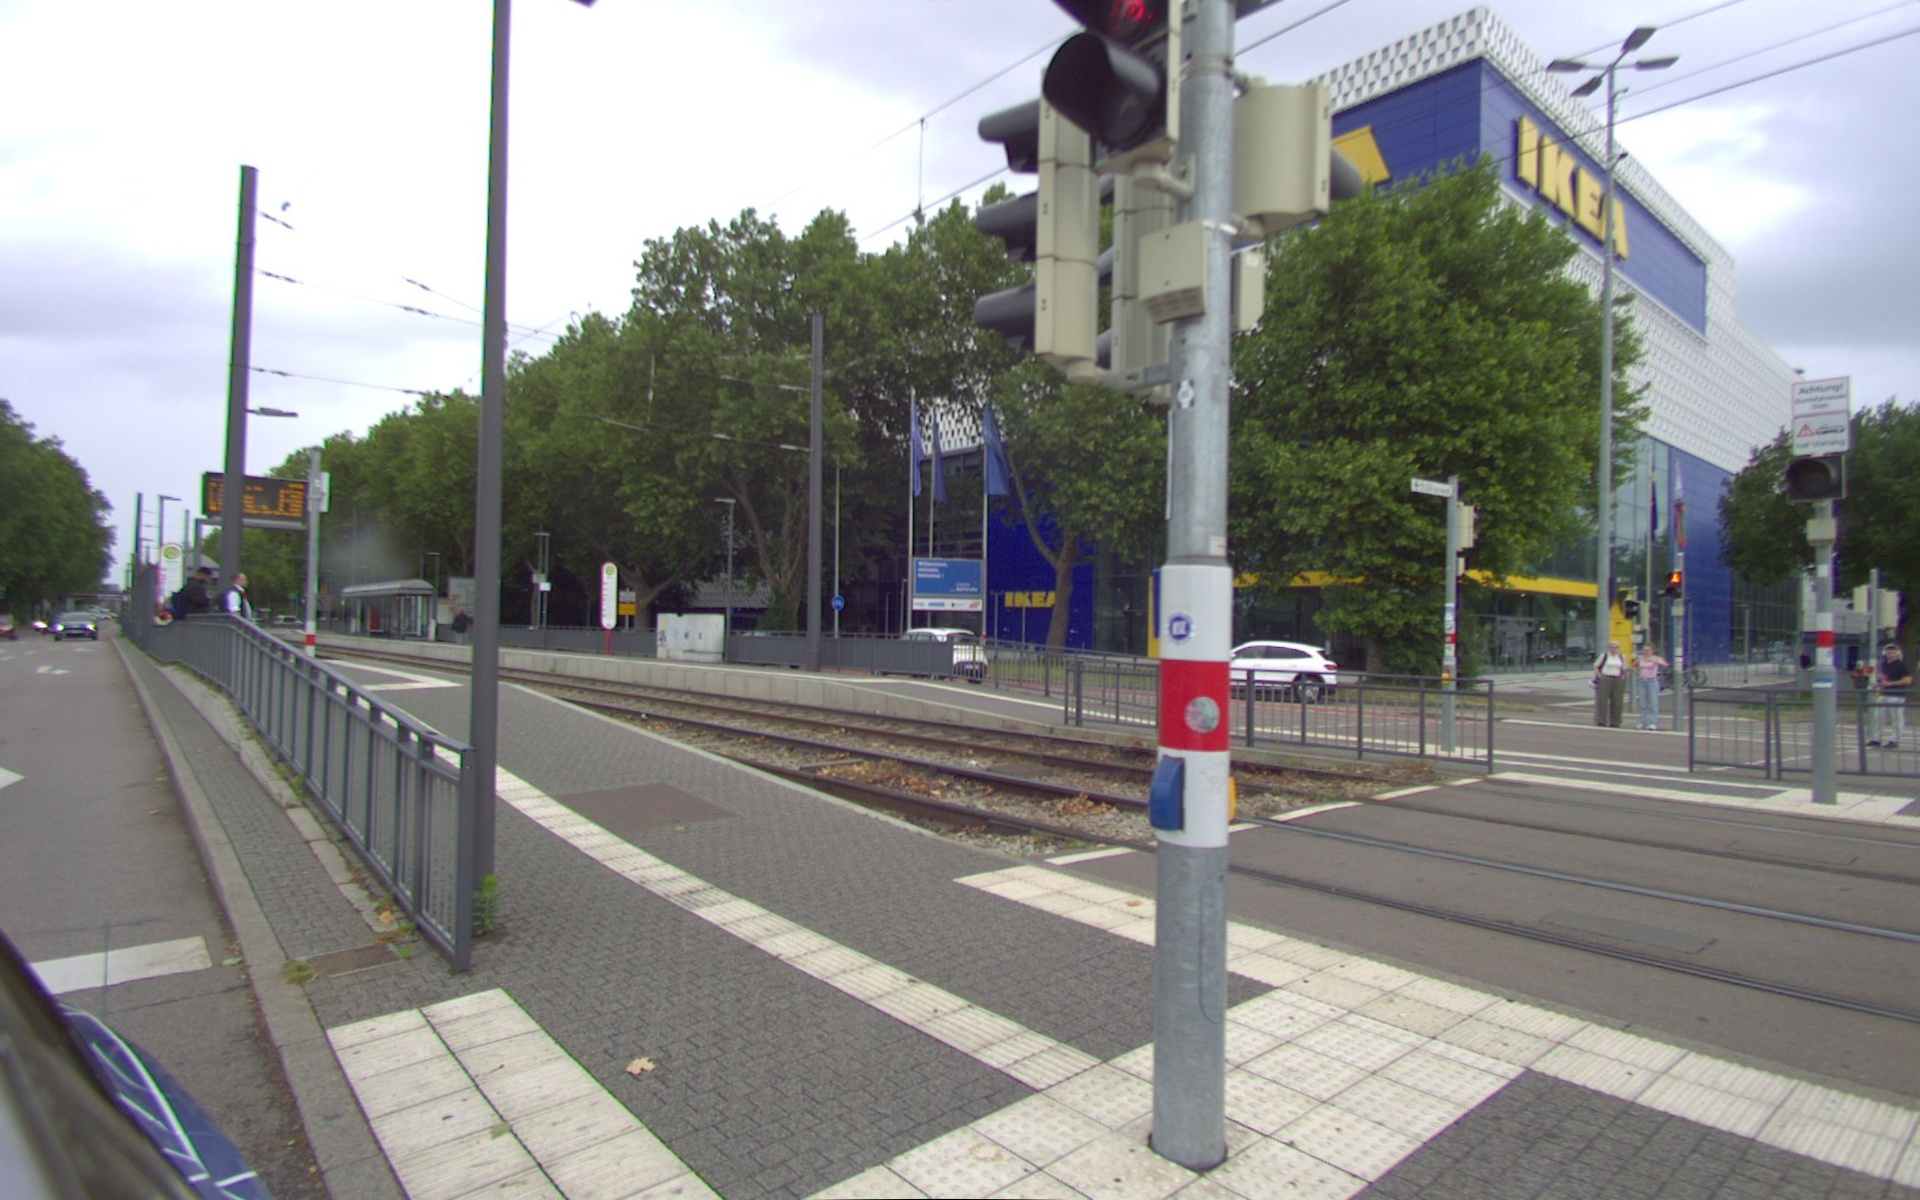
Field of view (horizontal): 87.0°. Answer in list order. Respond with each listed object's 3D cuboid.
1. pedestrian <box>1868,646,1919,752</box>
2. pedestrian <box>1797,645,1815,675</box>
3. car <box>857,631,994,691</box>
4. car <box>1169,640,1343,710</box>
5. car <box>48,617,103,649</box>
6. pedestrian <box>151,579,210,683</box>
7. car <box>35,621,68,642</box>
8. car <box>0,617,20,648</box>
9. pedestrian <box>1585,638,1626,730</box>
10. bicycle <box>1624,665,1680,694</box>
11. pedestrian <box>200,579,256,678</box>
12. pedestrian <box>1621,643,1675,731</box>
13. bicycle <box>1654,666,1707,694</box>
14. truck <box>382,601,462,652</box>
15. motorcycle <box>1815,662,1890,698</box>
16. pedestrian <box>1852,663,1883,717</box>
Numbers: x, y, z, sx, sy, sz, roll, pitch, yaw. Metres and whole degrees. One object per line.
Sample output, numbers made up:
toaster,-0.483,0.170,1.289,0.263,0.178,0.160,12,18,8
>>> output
pedestrian,16.229,1.712,17.491,0.676,1.778,0.665,8,-8,-41
pedestrian,51.212,3.637,61.254,0.795,1.759,0.680,2,-1,-39
car,-1.106,1.834,30.857,1.771,1.597,4.145,6,-4,-45
car,8.070,2.017,27.755,4.375,1.597,1.882,2,-2,18
car,-50.284,1.867,57.610,1.930,1.696,4.010,1,-1,-36
pedestrian,-13.524,0.522,17.577,0.775,1.755,0.588,1,-1,-37
car,-75.405,2.629,84.074,1.686,1.687,3.721,3,-3,-37
car,-56.701,1.876,59.294,1.862,1.695,4.010,1,-1,-36
pedestrian,13.309,1.723,20.862,0.674,1.811,0.757,1,-3,34
bicycle,31.924,3.639,46.722,0.584,1.165,2.026,3,-1,-40
pedestrian,-11.877,0.453,16.421,0.699,1.572,0.634,1,-1,-37
pedestrian,13.917,1.742,20.475,0.753,1.725,0.677,4,-3,-35
bicycle,34.936,3.859,49.072,2.020,1.165,0.586,2,-1,39
truck,-42.254,2.085,79.344,3.211,3.691,9.911,5,-4,-41
motorcycle,40.843,3.646,46.351,2.498,1.365,0.789,3,0,39
pedestrian,28.749,2.845,32.060,0.797,1.655,0.636,5,-4,-41
